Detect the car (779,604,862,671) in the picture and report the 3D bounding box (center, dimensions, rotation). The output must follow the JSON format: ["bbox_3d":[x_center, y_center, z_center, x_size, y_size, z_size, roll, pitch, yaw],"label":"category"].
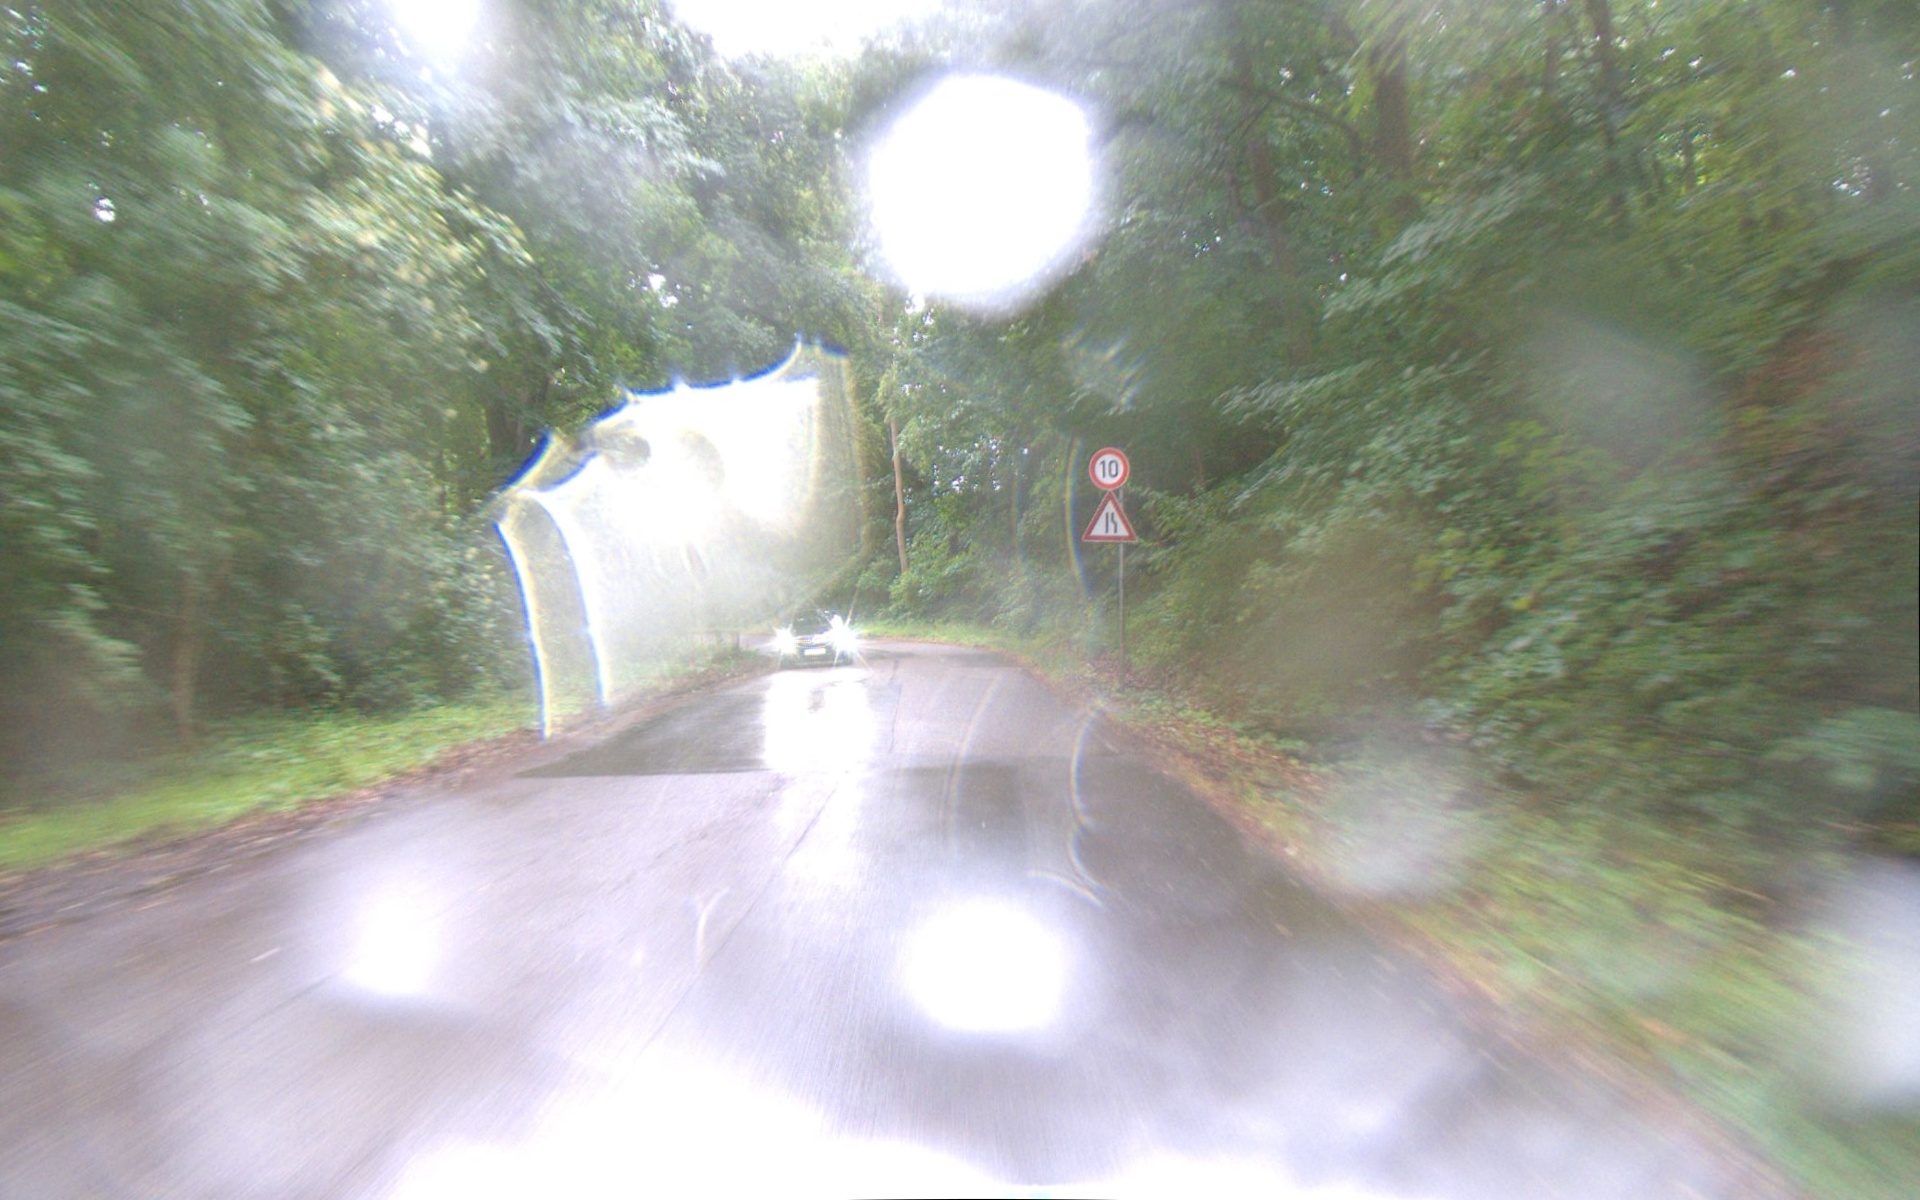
[{"bbox_3d":[-3.400,0.894,40.921,1.679,1.501,3.890,-3,0,-1],"label":"car"}]
